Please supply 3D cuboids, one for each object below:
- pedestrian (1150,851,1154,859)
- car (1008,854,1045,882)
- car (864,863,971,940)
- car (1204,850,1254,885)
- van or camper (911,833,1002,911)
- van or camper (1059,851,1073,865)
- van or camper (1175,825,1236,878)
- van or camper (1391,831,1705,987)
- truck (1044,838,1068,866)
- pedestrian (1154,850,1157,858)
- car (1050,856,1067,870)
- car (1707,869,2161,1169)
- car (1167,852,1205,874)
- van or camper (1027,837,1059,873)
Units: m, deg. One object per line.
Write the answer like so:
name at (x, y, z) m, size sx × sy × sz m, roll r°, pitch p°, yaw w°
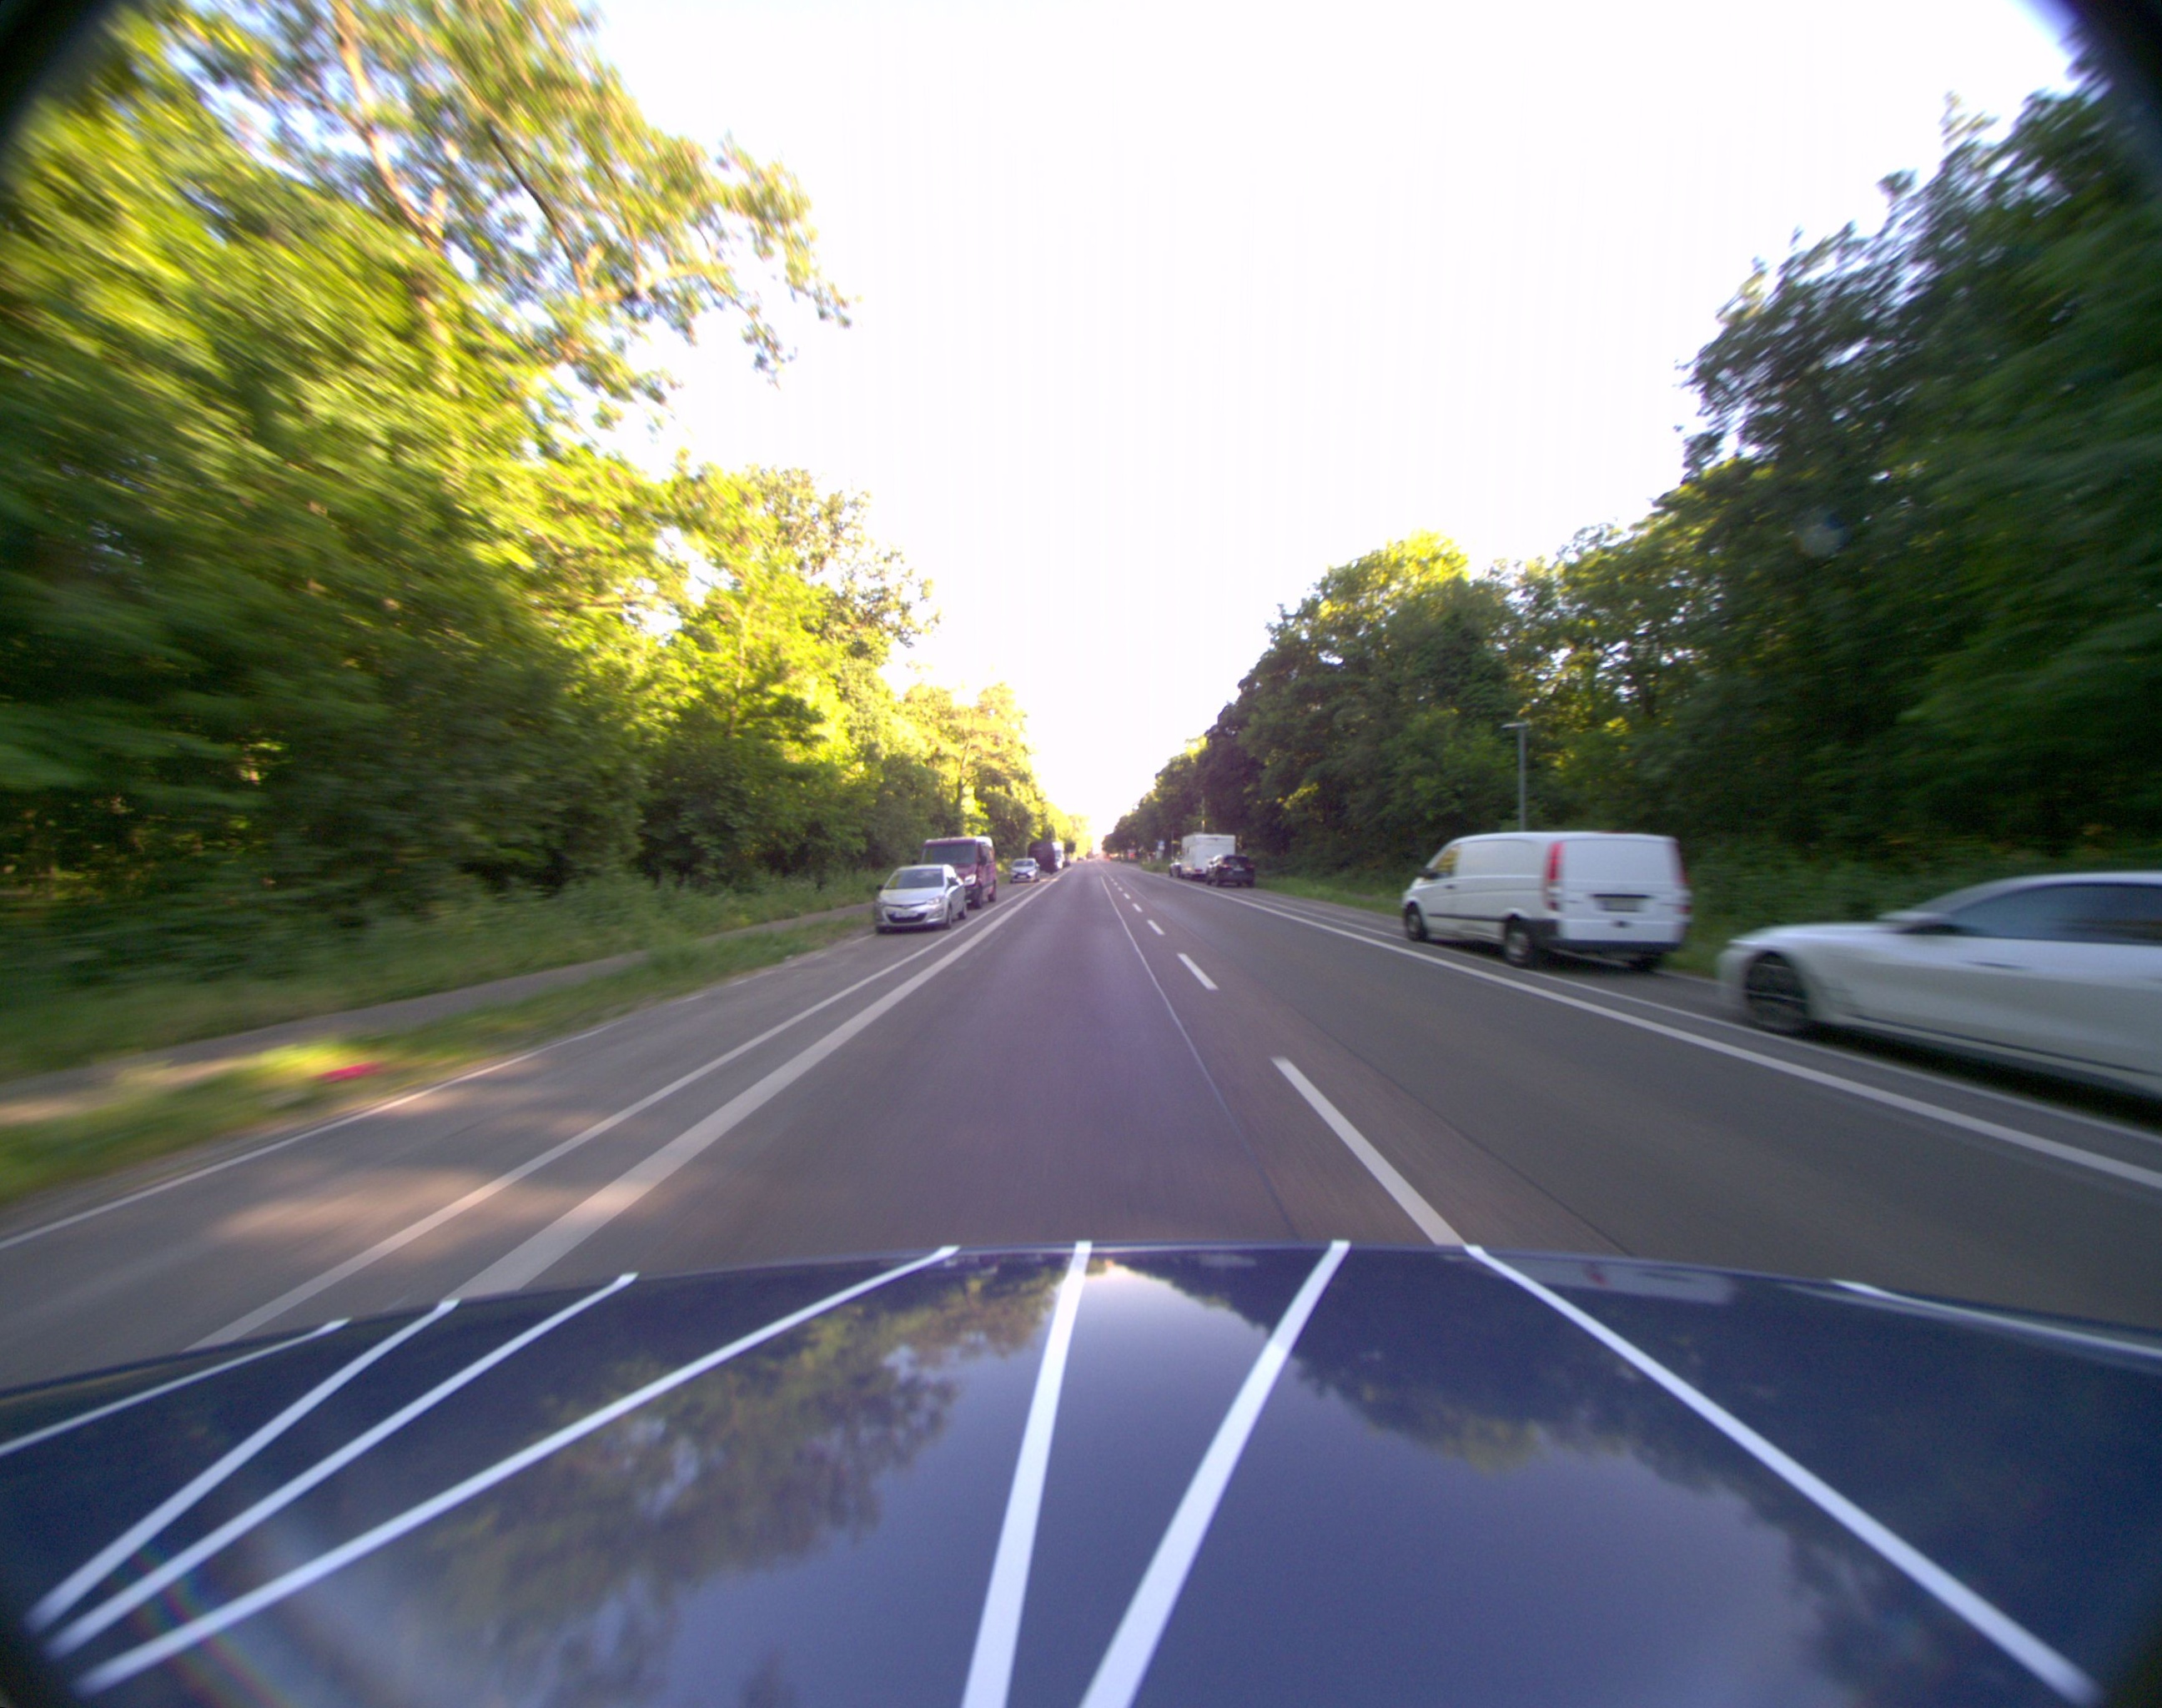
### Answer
pedestrian at (14.936, 0.279, 160.086) m, size 0.676 × 1.644 × 0.790 m, roll -1°, pitch 1°, yaw 5°
car at (-3.294, 0.838, 46.505) m, size 1.716 × 1.536 × 4.022 m, roll -3°, pitch 0°, yaw 2°
car at (-3.843, 1.064, 18.539) m, size 1.752 × 1.506 × 3.999 m, roll -3°, pitch 0°, yaw -1°
car at (7.282, 0.629, 37.724) m, size 1.650 × 1.622 × 4.273 m, roll 1°, pitch 0°, yaw 1°
van or camper at (-4.029, 0.539, 25.638) m, size 2.040 × 2.299 × 6.040 m, roll 0°, pitch 0°, yaw 0°
van or camper at (-2.216, 0.537, 112.165) m, size 1.902 × 2.002 × 4.586 m, roll -1°, pitch 0°, yaw 1°
van or camper at (7.428, -0.161, 46.348) m, size 2.321 × 2.953 × 7.109 m, roll 1°, pitch 0°, yaw -2°
van or camper at (6.703, 0.660, 11.722) m, size 1.840 × 1.900 × 4.855 m, roll 0°, pitch 0°, yaw 0°
truck at (-3.154, -0.240, 99.379) m, size 2.840 × 3.477 × 8.577 m, roll -1°, pitch 0°, yaw 0°
pedestrian at (15.627, 0.018, 160.016) m, size 0.676 × 1.644 × 0.790 m, roll -1°, pitch 1°, yaw 5°
car at (-2.622, 1.064, 90.118) m, size 1.716 × 1.559 × 4.000 m, roll -3°, pitch 0°, yaw 1°
car at (6.699, 0.930, 4.784) m, size 1.779 × 1.531 × 4.524 m, roll 1°, pitch 0°, yaw 0°
car at (7.333, 0.602, 53.613) m, size 1.832 × 1.467 × 4.679 m, roll 0°, pitch 0°, yaw -2°
van or camper at (-3.293, 0.119, 65.822) m, size 2.447 × 2.783 × 6.555 m, roll -4°, pitch 0°, yaw -2°
